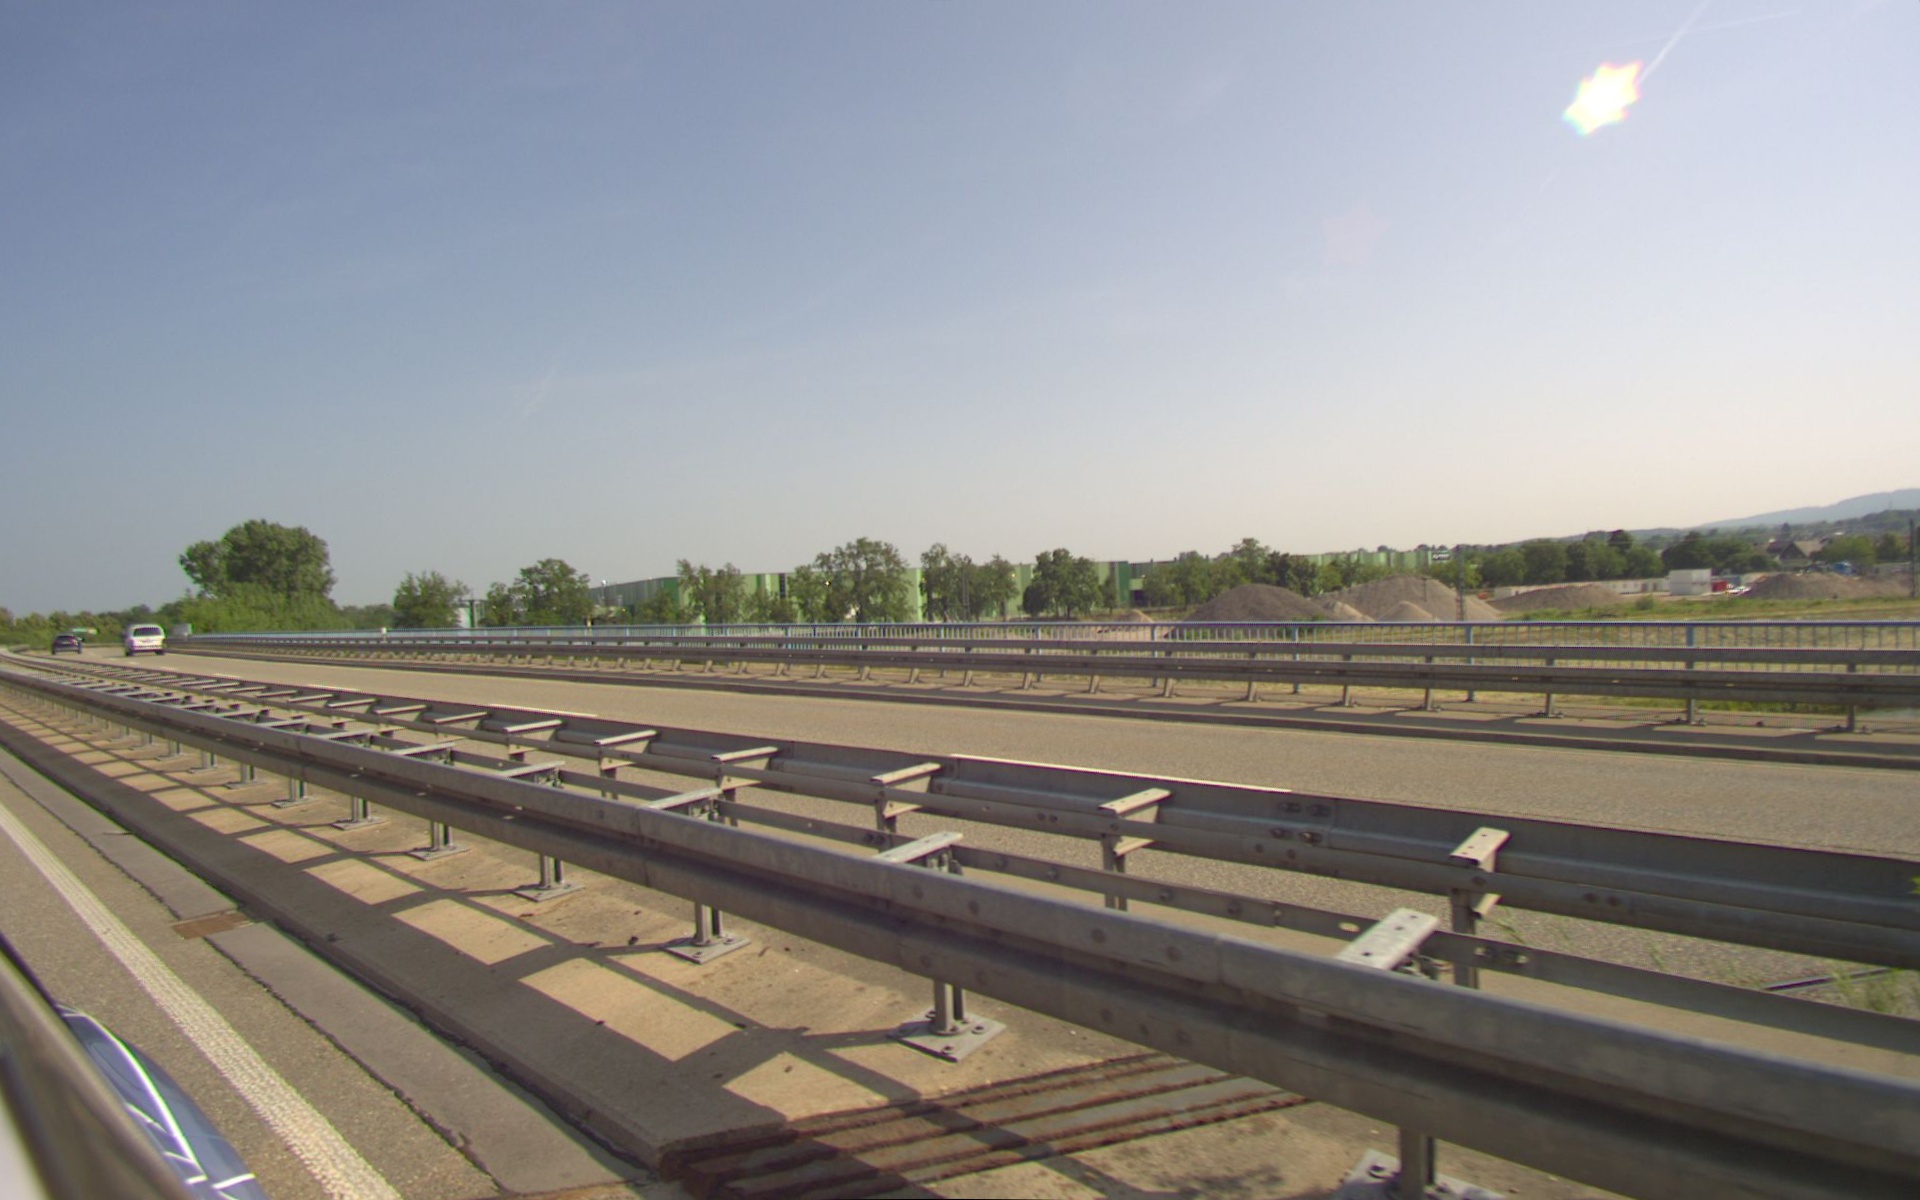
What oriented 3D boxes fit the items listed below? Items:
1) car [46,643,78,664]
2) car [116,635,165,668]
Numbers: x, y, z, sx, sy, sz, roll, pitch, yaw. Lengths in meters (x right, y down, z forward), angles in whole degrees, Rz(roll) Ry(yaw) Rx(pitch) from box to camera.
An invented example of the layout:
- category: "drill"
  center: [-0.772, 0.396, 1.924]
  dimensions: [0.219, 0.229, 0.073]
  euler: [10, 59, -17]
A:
- category: "car"
  center: [-73.912, 4.359, 83.343]
  dimensions: [1.841, 1.619, 4.425]
  euler: [-1, -2, -40]
- category: "car"
  center: [-53.995, 3.350, 66.638]
  dimensions: [2.015, 2.021, 5.311]
  euler: [-1, -1, -44]
